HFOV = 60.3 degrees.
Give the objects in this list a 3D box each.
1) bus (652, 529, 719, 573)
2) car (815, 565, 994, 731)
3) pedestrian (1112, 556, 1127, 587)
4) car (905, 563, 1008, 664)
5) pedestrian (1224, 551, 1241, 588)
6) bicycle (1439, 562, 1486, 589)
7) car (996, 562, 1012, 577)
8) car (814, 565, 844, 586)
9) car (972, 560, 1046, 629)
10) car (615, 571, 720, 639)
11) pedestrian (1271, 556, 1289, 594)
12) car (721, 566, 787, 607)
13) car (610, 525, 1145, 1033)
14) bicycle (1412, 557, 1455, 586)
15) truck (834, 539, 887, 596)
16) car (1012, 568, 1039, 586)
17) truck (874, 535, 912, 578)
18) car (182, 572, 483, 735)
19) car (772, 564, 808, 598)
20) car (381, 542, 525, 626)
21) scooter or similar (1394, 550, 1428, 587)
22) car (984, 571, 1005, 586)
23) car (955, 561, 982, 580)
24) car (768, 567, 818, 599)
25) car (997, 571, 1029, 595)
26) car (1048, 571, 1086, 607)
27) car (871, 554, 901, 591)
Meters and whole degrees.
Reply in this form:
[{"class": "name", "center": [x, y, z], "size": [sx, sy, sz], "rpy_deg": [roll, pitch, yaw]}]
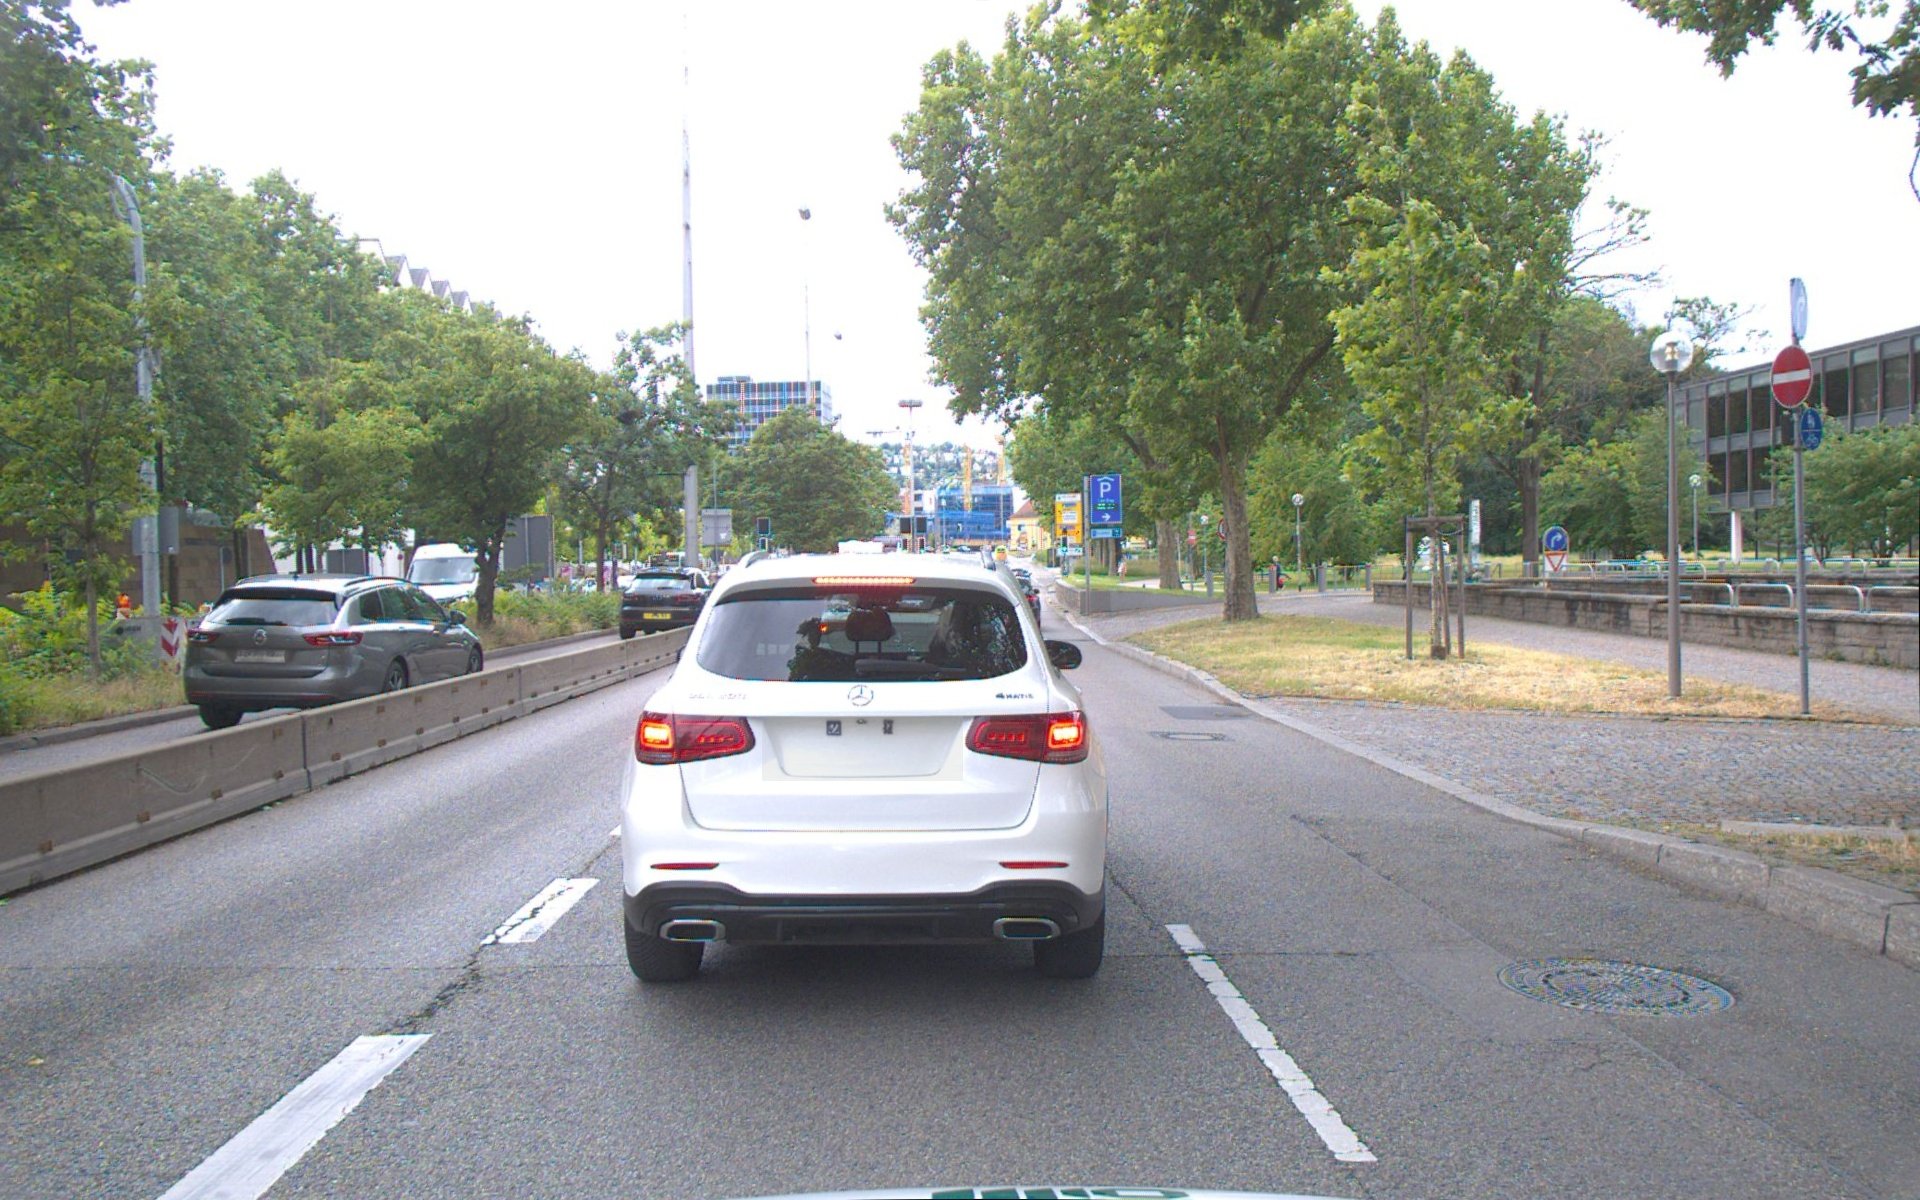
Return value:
[{"class": "bus", "center": [-21.872, -3.878, 132.547], "size": [3.594, 3.261, 14.266], "rpy_deg": [-1, 1, -3]}, {"class": "car", "center": [-0.707, 0.445, 18.277], "size": [1.761, 1.636, 3.751], "rpy_deg": [0, 1, -5]}, {"class": "pedestrian", "center": [10.575, -1.899, 109.750], "size": [0.746, 2.049, 0.696], "rpy_deg": [0, 1, 35]}, {"class": "car", "center": [-0.115, 0.200, 29.232], "size": [1.626, 1.668, 3.545], "rpy_deg": [0, 1, -3]}, {"class": "pedestrian", "center": [13.081, -1.476, 79.435], "size": [0.743, 1.755, 0.699], "rpy_deg": [-1, 1, 7]}, {"class": "bicycle", "center": [19.628, -0.945, 64.697], "size": [0.934, 0.992, 2.786], "rpy_deg": [1, 0, -1]}, {"class": "car", "center": [5.066, -3.573, 192.371], "size": [1.722, 1.698, 4.168], "rpy_deg": [-1, 1, 0]}, {"class": "car", "center": [-8.531, -1.571, 107.899], "size": [1.625, 1.342, 3.547], "rpy_deg": [0, 1, 0]}, {"class": "car", "center": [1.298, -0.178, 45.122], "size": [1.788, 1.783, 3.999], "rpy_deg": [-1, 1, -1]}, {"class": "car", "center": [-6.699, 0.073, 38.220], "size": [1.740, 1.445, 4.000], "rpy_deg": [-1, 1, -1]}, {"class": "pedestrian", "center": [14.126, -1.111, 72.914], "size": [0.625, 1.639, 0.663], "rpy_deg": [-1, 1, 24]}, {"class": "car", "center": [-6.845, -0.458, 55.241], "size": [1.624, 1.342, 3.548], "rpy_deg": [0, 1, 2]}, {"class": "car", "center": [-0.354, 0.555, 7.688], "size": [1.752, 1.653, 4.435], "rpy_deg": [-1, 1, -2]}, {"class": "bicycle", "center": [18.463, -1.092, 64.527], "size": [0.934, 1.082, 2.335], "rpy_deg": [1, 0, -1]}, {"class": "truck", "center": [-5.252, -1.753, 88.424], "size": [2.568, 2.911, 7.077], "rpy_deg": [0, 1, -2]}, {"class": "car", "center": [5.036, -1.790, 127.841], "size": [1.907, 1.342, 4.017], "rpy_deg": [0, 1, 0]}, {"class": "truck", "center": [-4.954, -3.202, 123.059], "size": [2.637, 3.044, 5.636], "rpy_deg": [1, 0, -2]}, {"class": "car", "center": [-6.225, 0.462, 16.878], "size": [1.627, 1.461, 3.959], "rpy_deg": [0, 0, -1]}, {"class": "car", "center": [-8.183, -0.929, 79.776], "size": [1.626, 1.539, 3.544], "rpy_deg": [-1, 1, -4]}, {"class": "car", "center": [-13.190, -0.444, 43.412], "size": [2.072, 2.003, 5.578], "rpy_deg": [-1, 1, -1]}, {"class": "scooter or similar", "center": [15.778, -1.079, 57.878], "size": [0.622, 1.267, 2.226], "rpy_deg": [1, 0, 2]}, {"class": "car", "center": [3.173, -1.975, 151.881], "size": [1.907, 1.342, 4.017], "rpy_deg": [0, 1, 0]}, {"class": "car", "center": [0.610, -2.067, 117.763], "size": [1.907, 1.342, 4.017], "rpy_deg": [0, 1, 0]}, {"class": "car", "center": [-7.085, -0.734, 70.285], "size": [1.624, 1.342, 3.548], "rpy_deg": [0, 1, 2]}, {"class": "car", "center": [3.358, -1.088, 105.046], "size": [1.907, 1.453, 4.017], "rpy_deg": [0, 1, 0]}, {"class": "car", "center": [6.217, -0.658, 96.224], "size": [1.952, 2.049, 4.000], "rpy_deg": [0, 1, 0]}, {"class": "car", "center": [-5.227, -1.966, 116.691], "size": [1.953, 2.518, 4.000], "rpy_deg": [-1, 1, -1]}]
